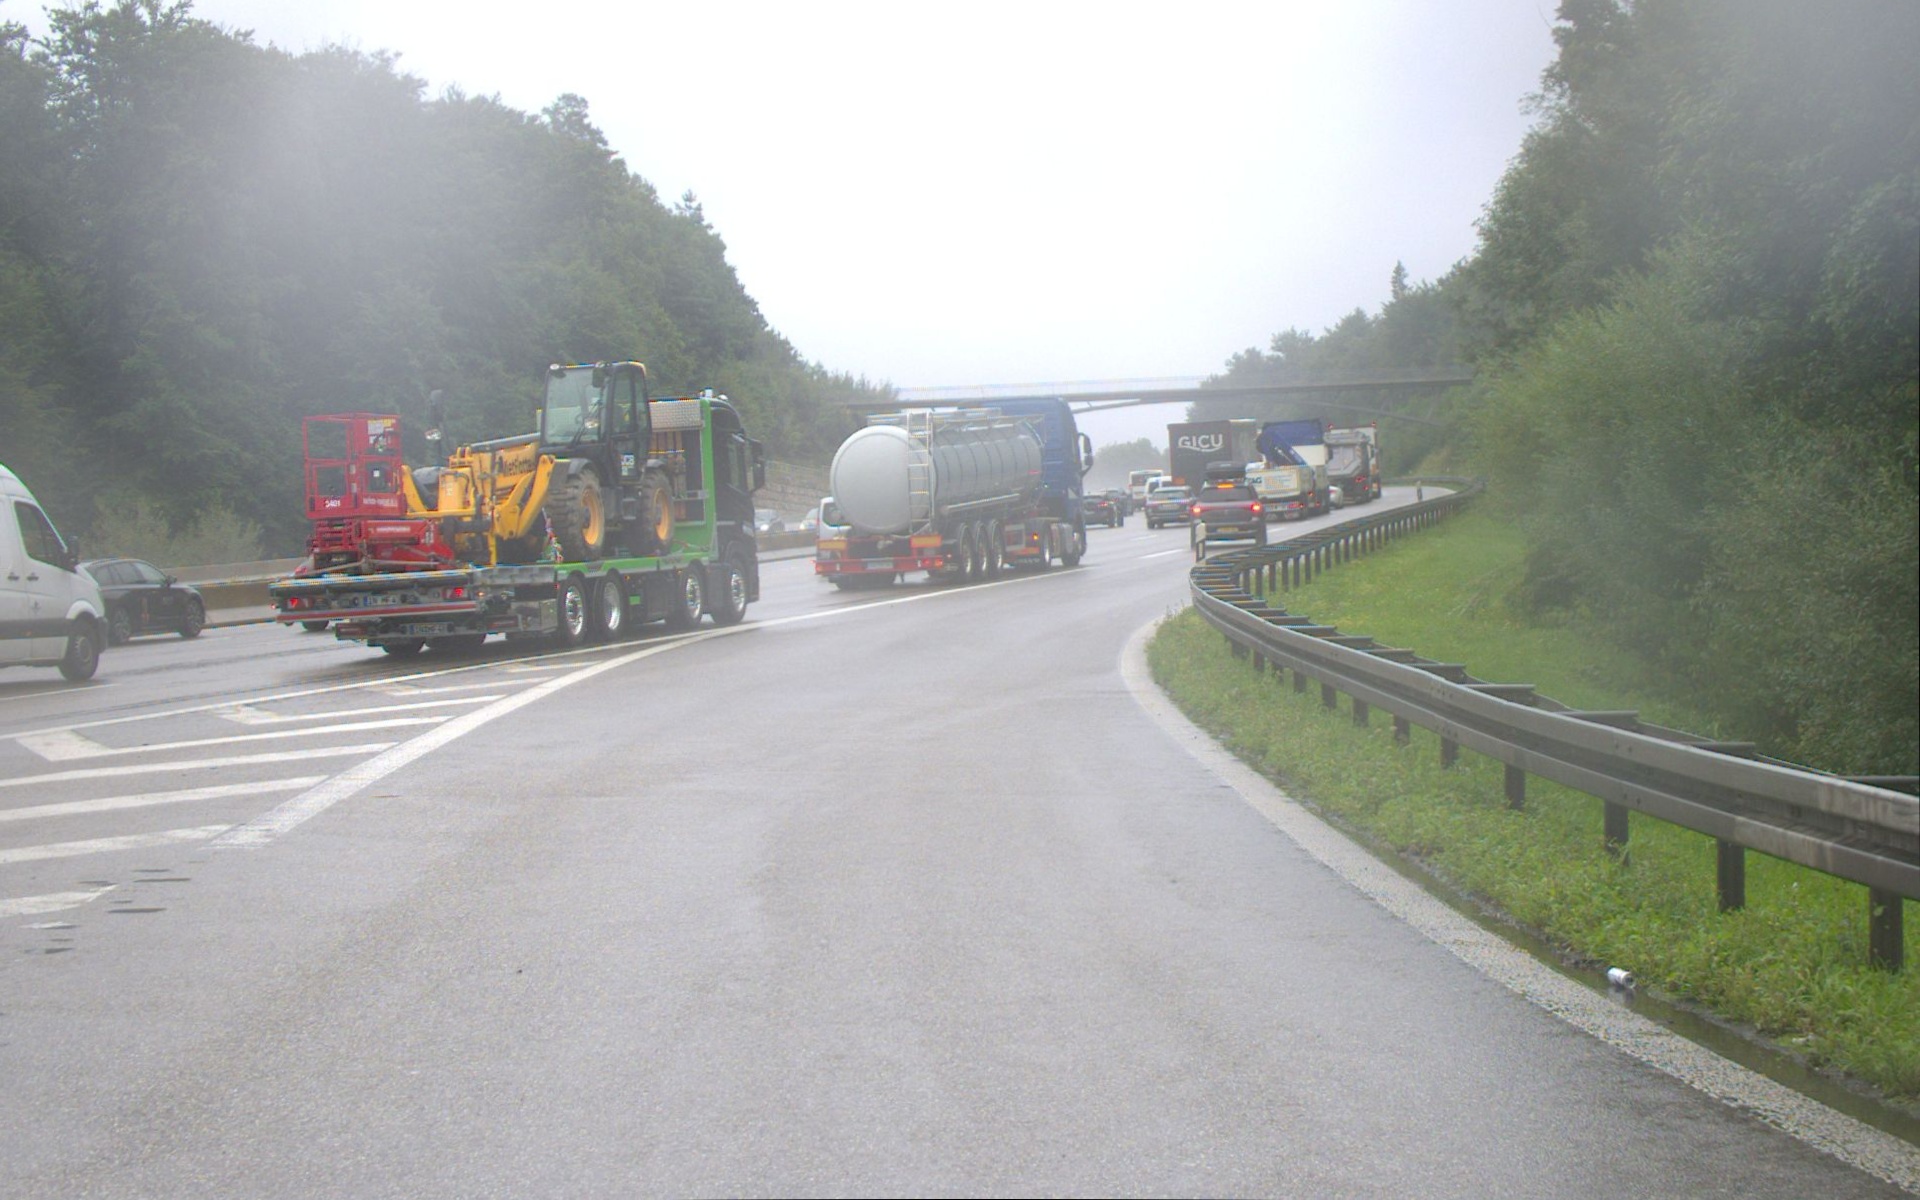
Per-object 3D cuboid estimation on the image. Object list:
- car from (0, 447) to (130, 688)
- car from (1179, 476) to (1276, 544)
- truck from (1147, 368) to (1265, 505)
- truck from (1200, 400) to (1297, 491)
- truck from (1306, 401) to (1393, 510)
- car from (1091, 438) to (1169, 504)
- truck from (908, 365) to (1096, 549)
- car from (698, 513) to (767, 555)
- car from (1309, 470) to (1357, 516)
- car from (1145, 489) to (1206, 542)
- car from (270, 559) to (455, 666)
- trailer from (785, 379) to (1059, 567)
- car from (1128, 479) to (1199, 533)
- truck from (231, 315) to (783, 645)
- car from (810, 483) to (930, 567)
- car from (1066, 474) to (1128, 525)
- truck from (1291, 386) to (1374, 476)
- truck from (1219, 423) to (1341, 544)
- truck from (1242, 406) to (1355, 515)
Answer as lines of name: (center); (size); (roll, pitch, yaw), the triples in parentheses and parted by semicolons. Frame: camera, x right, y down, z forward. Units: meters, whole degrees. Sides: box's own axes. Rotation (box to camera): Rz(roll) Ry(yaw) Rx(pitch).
car: (-11.538, -0.310, 37.575); (2.216, 2.620, 5.840); (-2, 1, 14)
car: (6.678, -2.211, 85.351); (1.994, 1.630, 3.998); (1, 1, 10)
truck: (10.512, -6.839, 145.877); (3.756, 5.480, 10.168); (1, 1, 11)
truck: (14.481, -7.632, 171.564); (3.578, 4.081, 10.875); (-2, 1, 11)
truck: (21.444, -7.865, 188.916); (4.338, 5.743, 9.728); (1, 1, 8)
car: (8.253, -6.209, 166.282); (3.096, 2.992, 6.771); (1, 1, 8)
truck: (0.967, -3.088, 73.914); (2.878, 3.680, 5.054); (-2, 2, 13)
car: (-10.312, -3.018, 156.299); (1.994, 1.748, 3.998); (-2, 1, 13)
car: (16.417, -4.692, 151.181); (1.798, 1.897, 3.999); (-2, 1, 10)
car: (7.829, -3.060, 124.849); (1.798, 1.897, 3.999); (0, 1, 10)
car: (-10.251, 0.184, 59.242); (1.786, 1.721, 3.998); (1, 1, 12)
trailer: (-0.555, -2.548, 67.271); (2.875, 3.277, 10.073); (-2, 2, 13)
car: (11.802, -5.401, 198.774); (3.248, 2.992, 6.770); (1, 1, 10)
truck: (-5.458, -1.587, 44.719); (2.833, 3.576, 11.791); (-3, 2, 14)
car: (-1.996, -1.711, 77.687); (1.820, 1.760, 3.999); (-2, 2, 11)
car: (5.382, -3.918, 134.811); (1.798, 1.897, 3.998); (-2, 1, 11)
truck: (18.048, -8.109, 166.109); (3.756, 3.957, 11.057); (1, 1, 7)
truck: (11.931, -4.364, 127.014); (3.601, 4.090, 11.557); (-3, 2, 9)
truck: (14.126, -5.729, 142.746); (3.509, 4.253, 10.598); (1, 1, 12)
